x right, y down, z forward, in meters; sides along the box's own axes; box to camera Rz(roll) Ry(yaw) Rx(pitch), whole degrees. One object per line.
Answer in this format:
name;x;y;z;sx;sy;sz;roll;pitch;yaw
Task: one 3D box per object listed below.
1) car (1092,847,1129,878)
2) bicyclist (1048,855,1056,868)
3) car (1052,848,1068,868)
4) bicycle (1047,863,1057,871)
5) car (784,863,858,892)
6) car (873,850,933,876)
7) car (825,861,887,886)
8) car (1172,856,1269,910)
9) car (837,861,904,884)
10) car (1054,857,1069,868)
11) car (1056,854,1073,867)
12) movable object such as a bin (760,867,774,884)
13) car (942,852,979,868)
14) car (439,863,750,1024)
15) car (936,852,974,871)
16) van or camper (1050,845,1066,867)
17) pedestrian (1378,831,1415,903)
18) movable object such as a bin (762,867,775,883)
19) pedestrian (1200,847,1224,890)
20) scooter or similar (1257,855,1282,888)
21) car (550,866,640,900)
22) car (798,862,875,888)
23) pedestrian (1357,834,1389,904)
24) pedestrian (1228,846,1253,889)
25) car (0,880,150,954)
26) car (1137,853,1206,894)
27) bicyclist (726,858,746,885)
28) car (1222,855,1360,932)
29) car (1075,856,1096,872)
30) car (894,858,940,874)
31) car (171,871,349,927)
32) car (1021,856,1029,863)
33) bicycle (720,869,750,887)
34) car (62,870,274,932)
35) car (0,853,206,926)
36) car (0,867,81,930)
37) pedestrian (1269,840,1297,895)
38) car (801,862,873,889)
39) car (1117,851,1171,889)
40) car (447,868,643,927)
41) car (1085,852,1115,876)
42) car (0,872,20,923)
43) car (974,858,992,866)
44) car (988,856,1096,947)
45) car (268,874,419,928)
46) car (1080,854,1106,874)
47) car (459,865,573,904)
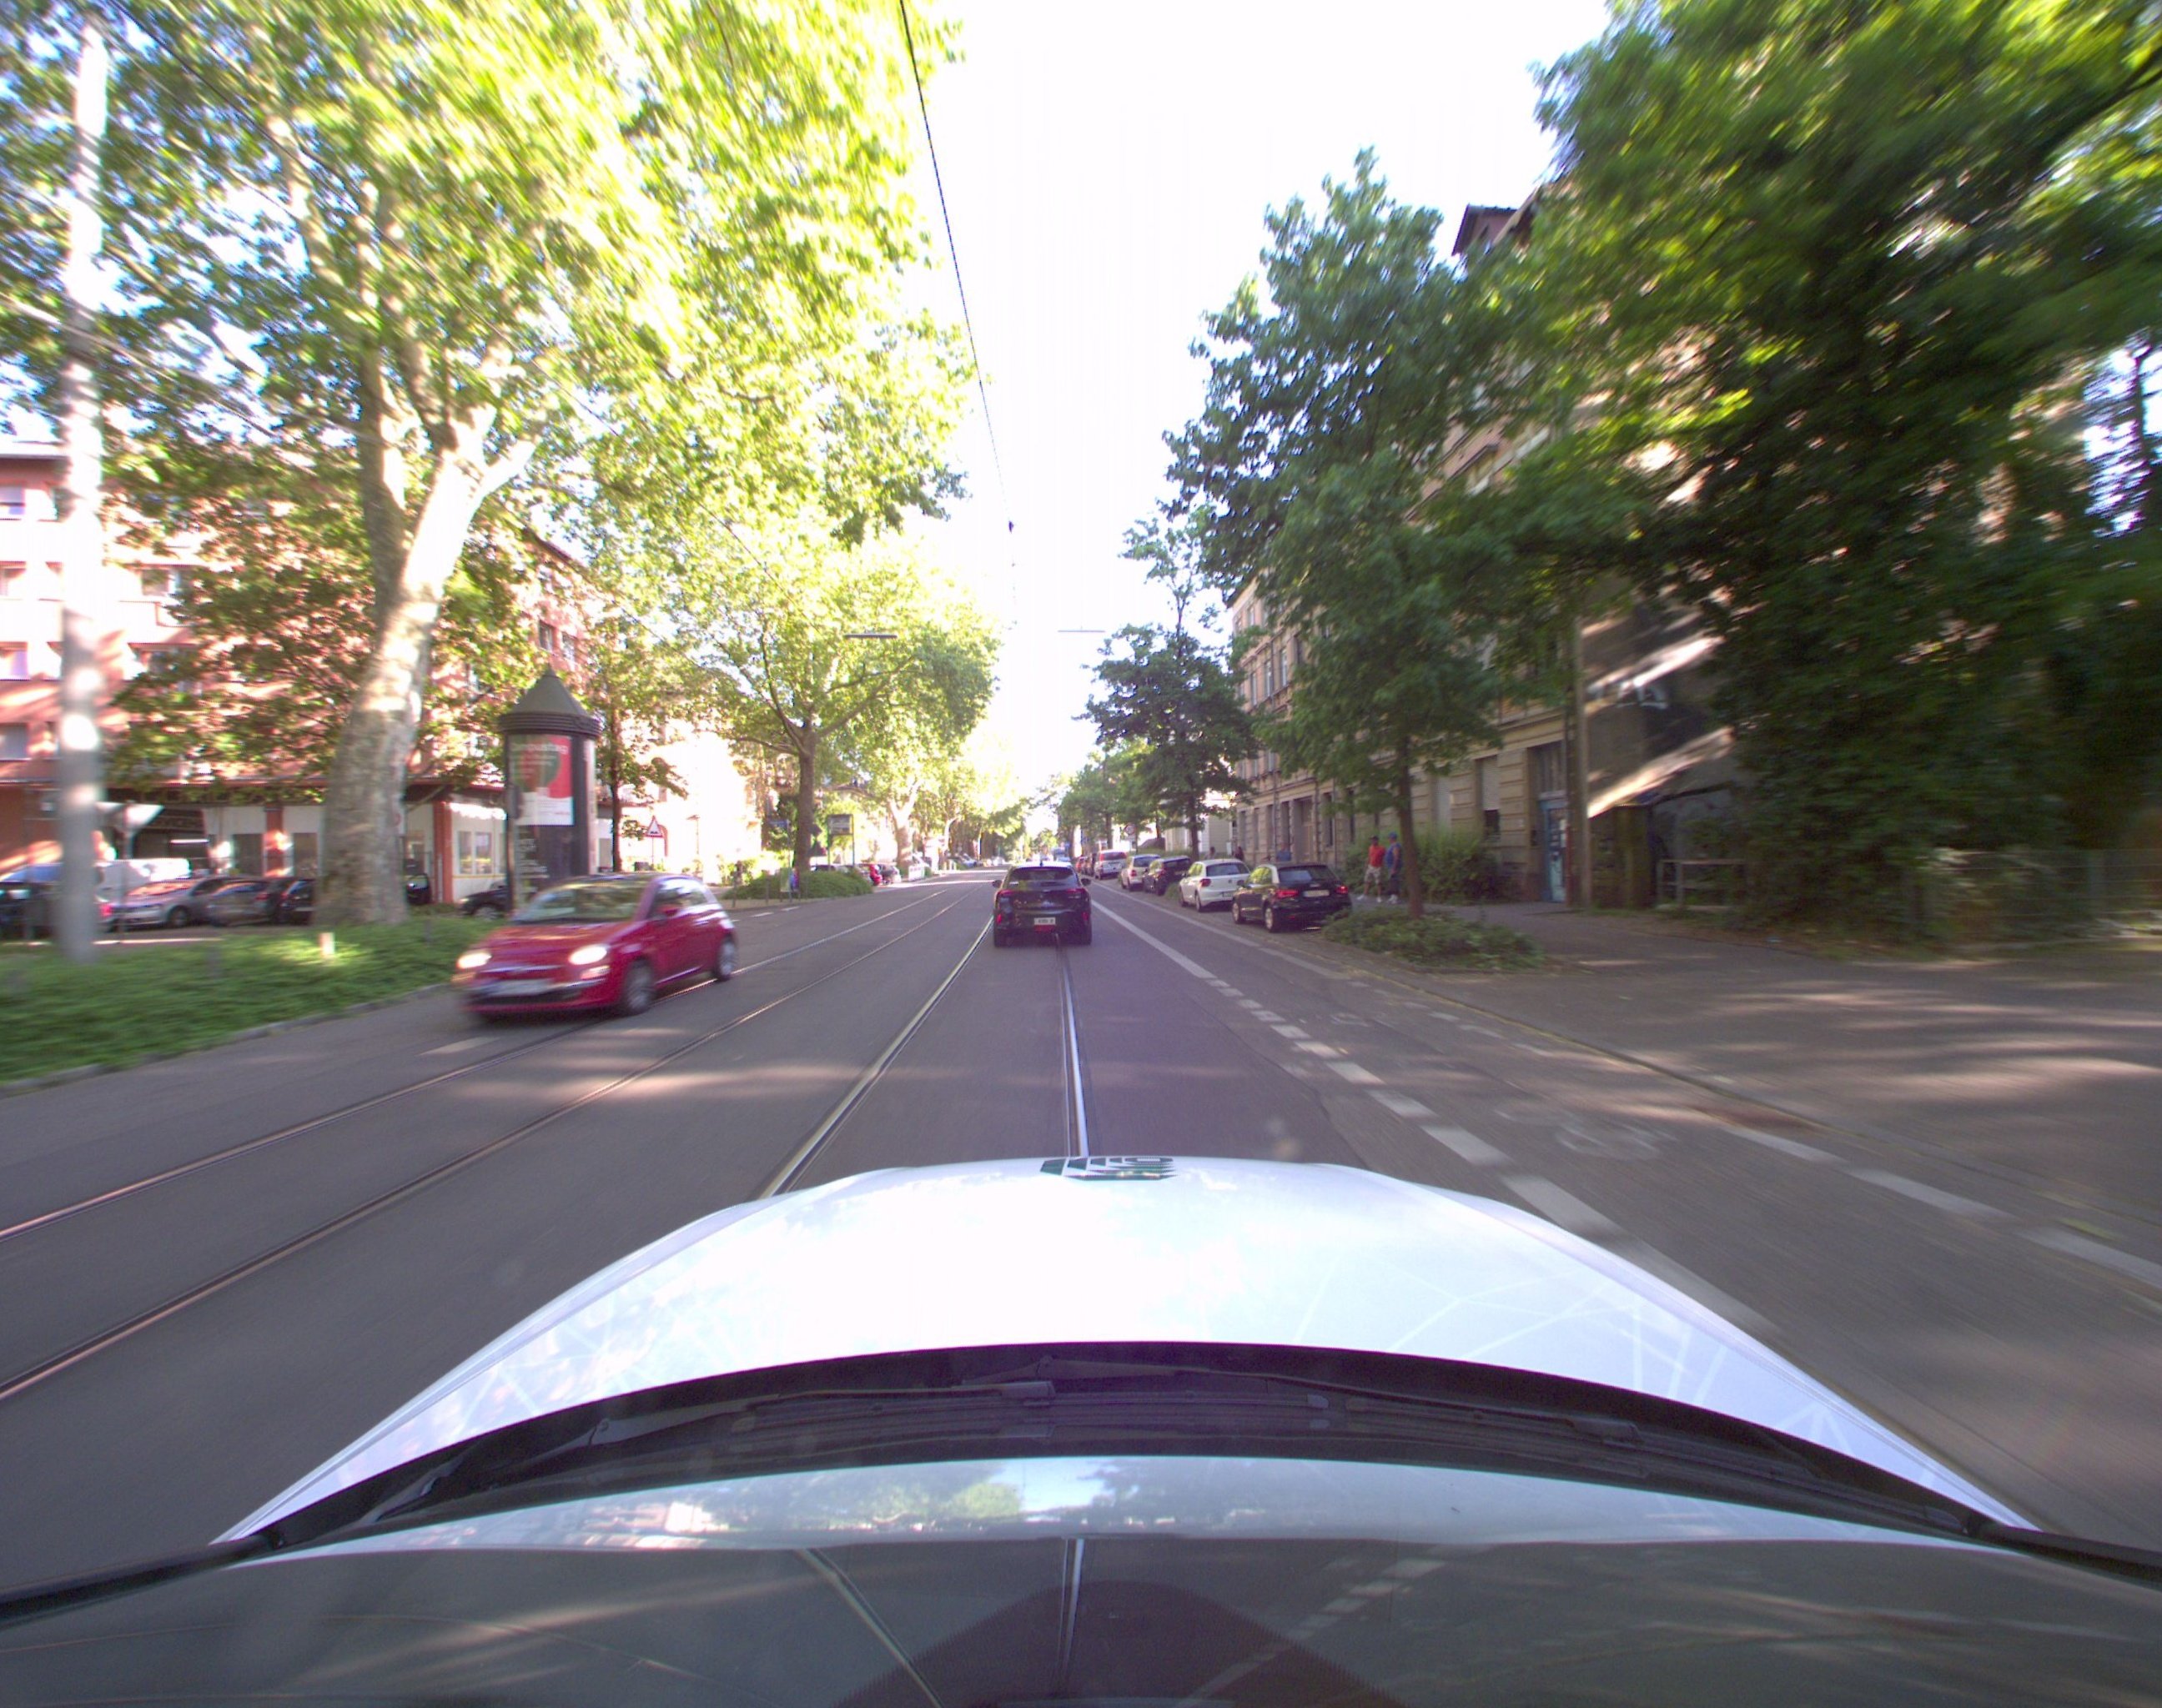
car;1.907;0.552;54.167;1.880;1.851;4.960;-4;0;-4
bicyclist;-3.438;0.849;96.148;0.957;1.499;1.092;0;-1;-6
car;-3.160;0.554;120.902;2.081;2.772;4.690;-2;0;-4
bicycle;-3.431;1.532;96.163;0.966;0.999;2.578;0;0;-5
car;-13.912;1.239;43.645;3.411;1.465;1.695;0;-1;-2
car;-15.968;0.802;73.274;5.029;2.259;2.080;0;0;-8
car;-14.121;1.214;51.143;3.411;1.465;1.758;0;-1;-2
car;4.049;0.801;24.401;1.880;1.368;4.101;-4;0;-4
car;-13.907;1.217;54.012;3.980;1.465;1.851;0;-1;-5
car;-2.715;1.164;113.715;1.800;1.434;3.994;-2;-1;-4
car;-2.102;0.825;103.393;1.880;1.434;4.523;-4;0;-4
movable object such as a bin;-21.516;1.455;55.770;0.723;1.109;0.542;0;-1;-3
car;-19.476;1.003;131.730;5.621;2.593;2.195;0;-1;-1
car;-5.373;0.874;9.565;1.657;1.444;3.469;-2;0;-3
car;-18.386;1.146;119.078;5.027;2.374;2.078;-5;0;-4
van or camper;-3.630;0.328;127.443;2.250;3.216;5.523;-2;0;-4
pedestrian;7.983;0.325;20.645;0.598;1.793;0.727;0;-1;-7
movable object such as a bin;-21.616;1.458;56.339;0.721;1.109;0.560;0;-1;-3
pedestrian;5.240;0.571;32.625;0.725;1.693;0.955;0;-1;-5
scooter or similar;7.139;0.653;30.901;0.574;1.246;1.333;0;-1;-3
car;-22.520;1.304;37.912;1.944;1.487;3.995;0;0;-3
car;-14.609;1.232;48.766;4.072;1.465;1.819;0;-1;-2
pedestrian;7.656;0.393;21.329;0.593;1.793;0.733;-1;-1;36
pedestrian;6.398;0.542;32.642;0.725;1.709;0.854;0;-1;-8
car;-24.059;1.375;17.908;4.527;1.489;1.854;0;-1;-10
car;3.654;0.781;33.743;1.881;1.467;4.584;-4;0;-6
bicyclist;-19.514;0.987;46.039;0.800;1.507;1.113;0;-1;-11
car;4.464;0.788;17.922;1.670;1.412;3.835;-4;0;-5
car;0.397;0.939;77.730;1.699;1.423;3.972;-5;0;-4
car;-16.441;1.188;81.880;4.295;1.607;1.921;-1;0;-7
car;-25.124;1.316;25.154;1.995;1.526;3.982;0;0;-13
car;-15.871;1.496;231.385;2.250;1.840;5.523;-2;0;-4
bicycle;-19.485;1.338;45.881;0.968;0.999;2.574;0;0;-10
car;-27.418;1.337;24.750;1.996;1.618;4.537;0;0;-13
car;-29.925;0.991;24.812;1.996;2.003;4.898;0;0;-13
car;-33.190;1.338;23.887;1.992;1.845;4.907;0;0;-7
pedestrian;6.683;0.447;26.993;0.725;1.793;0.599;0;-1;-6
car;-13.750;1.214;46.064;3.592;1.465;1.685;0;-1;-2
car;2.929;0.730;38.538;1.880;1.568;4.236;-4;0;-4
car;-14.261;1.118;21.885;3.986;1.449;1.738;0;0;-9
car;1.437;0.743;63.119;1.882;1.766;4.671;-2;0;-4
car;-35.557;1.399;24.487;1.945;1.618;4.466;0;0;-11
car;-23.423;1.873;194.188;3.971;2.014;2.001;0;-1;2
car;-0.753;0.788;15.322;1.760;1.460;3.945;0;0;-4
car;-23.031;1.411;25.650;1.815;1.493;3.981;0;0;-14
car;0.981;0.847;68.917;1.709;1.514;4.029;-3;0;-5
car;-22.263;1.180;32.290;1.944;1.407;3.887;0;0;-3
